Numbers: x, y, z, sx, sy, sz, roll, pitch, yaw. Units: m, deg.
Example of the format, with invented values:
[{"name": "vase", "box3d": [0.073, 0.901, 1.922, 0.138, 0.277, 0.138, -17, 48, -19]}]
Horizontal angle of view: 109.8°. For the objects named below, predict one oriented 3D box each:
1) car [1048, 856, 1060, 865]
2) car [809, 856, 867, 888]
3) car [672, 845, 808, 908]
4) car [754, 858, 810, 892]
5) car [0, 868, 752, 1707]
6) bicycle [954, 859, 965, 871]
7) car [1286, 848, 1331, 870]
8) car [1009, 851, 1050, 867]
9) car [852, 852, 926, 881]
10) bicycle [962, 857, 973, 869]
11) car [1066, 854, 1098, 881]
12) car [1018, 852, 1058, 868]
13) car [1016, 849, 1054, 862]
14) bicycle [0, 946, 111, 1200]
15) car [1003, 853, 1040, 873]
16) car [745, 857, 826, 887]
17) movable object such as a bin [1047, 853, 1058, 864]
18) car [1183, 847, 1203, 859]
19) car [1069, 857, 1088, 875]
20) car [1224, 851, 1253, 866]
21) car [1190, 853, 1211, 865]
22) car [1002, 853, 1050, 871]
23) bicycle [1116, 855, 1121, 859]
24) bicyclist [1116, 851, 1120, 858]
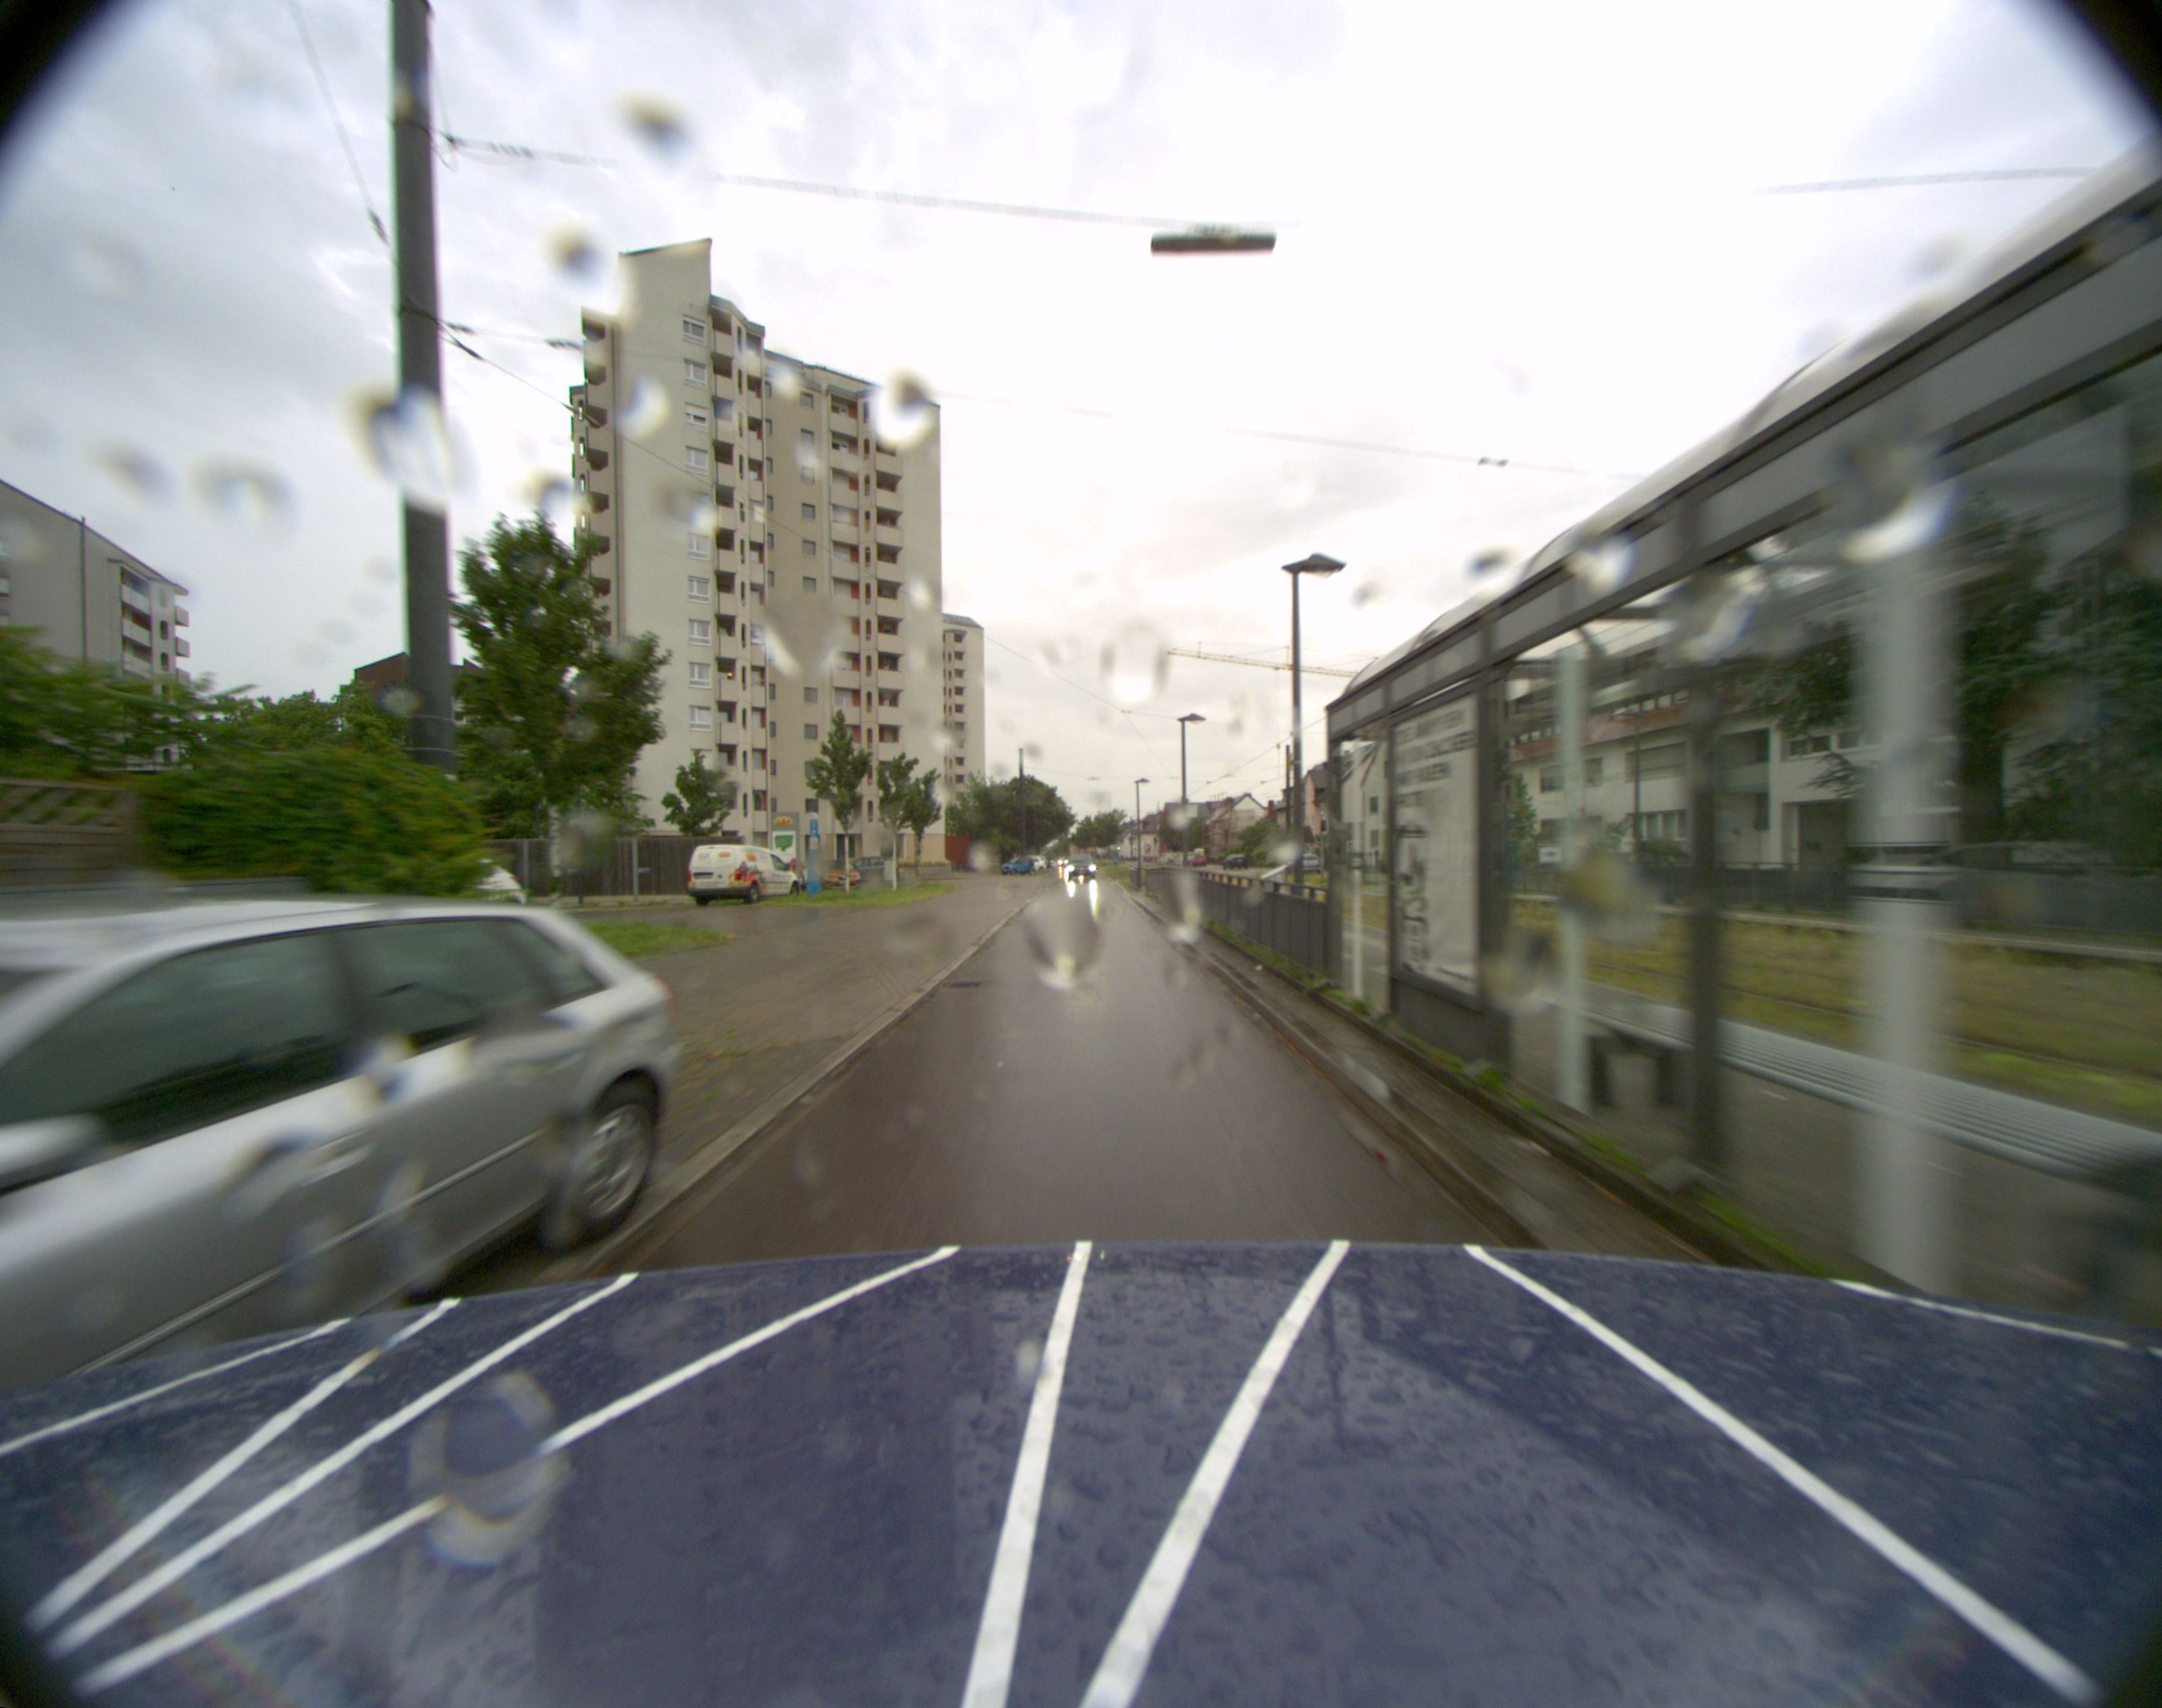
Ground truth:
[{"name": "car", "box3d": [-5.137, 1.240, 144.986, 1.999, 1.696, 3.999, -2, 1, 0]}, {"name": "car", "box3d": [-12.176, 0.861, 37.929, 2.003, 1.433, 3.991, -2, 1, -28]}, {"name": "car", "box3d": [-10.778, 0.675, 24.481, 1.968, 1.773, 4.898, -2, 0, 2]}, {"name": "car", "box3d": [-14.691, 0.984, 37.215, 2.003, 1.433, 3.991, -2, 1, -28]}, {"name": "car", "box3d": [-2.724, 0.856, 1.897, 1.654, 1.397, 4.649, 2, 1, 1]}, {"name": "bicycle", "box3d": [-10.714, 0.979, 67.138, 0.663, 1.000, 2.057, -2, 1, -1]}, {"name": "car", "box3d": [16.647, 0.343, 55.779, 1.999, 1.405, 3.656, -2, 1, -2]}, {"name": "car", "box3d": [-5.825, 0.590, 86.328, 4.471, 1.661, 1.808, 2, -1, -39]}, {"name": "car", "box3d": [-12.107, 0.779, 47.907, 4.119, 1.607, 1.811, -2, 0, -31]}, {"name": "bicycle", "box3d": [-10.014, 0.796, 67.171, 0.663, 1.000, 2.057, -2, 1, -1]}, {"name": "car", "box3d": [0.016, 0.868, 50.923, 1.999, 1.611, 3.998, -2, 1, -2]}, {"name": "car", "box3d": [-4.757, 0.693, 84.015, 4.195, 1.661, 1.680, 2, -1, -38]}, {"name": "car", "box3d": [-5.607, 0.235, 93.006, 4.470, 1.419, 1.680, 2, -1, -35]}, {"name": "bicycle", "box3d": [-5.067, 1.026, 2.814, 0.538, 1.087, 1.947, -2, 1, -6]}, {"name": "car", "box3d": [-4.848, 0.711, 62.225, 2.570, 1.539, 1.598, -1, 1, -41]}, {"name": "car", "box3d": [-17.386, 1.029, 44.759, 4.119, 1.524, 1.811, -2, 0, -31]}, {"name": "movable object such as a bin", "box3d": [-4.090, 0.687, 108.811, 1.165, 1.553, 1.372, -2, 2, -24]}, {"name": "car", "box3d": [15.279, -0.103, 103.845, 1.999, 1.401, 4.174, -2, -1, -2]}, {"name": "car", "box3d": [-0.254, 1.271, 81.280, 1.999, 1.762, 3.999, -2, 1, 0]}, {"name": "car", "box3d": [15.963, 0.503, 77.291, 1.842, 1.418, 4.173, -2, 0, -2]}, {"name": "car", "box3d": [15.438, 0.662, 98.356, 1.999, 1.365, 3.842, -2, 1, -2]}, {"name": "car", "box3d": [-5.160, 0.783, 71.514, 4.195, 1.538, 1.760, 2, -1, -41]}, {"name": "bicycle", "box3d": [9.689, 0.664, 197.705, 0.937, 1.037, 3.433, 0, 0, -3]}, {"name": "bicyclist", "box3d": [9.671, 0.123, 197.948, 0.956, 1.575, 1.399, -2, 1, -2]}]
